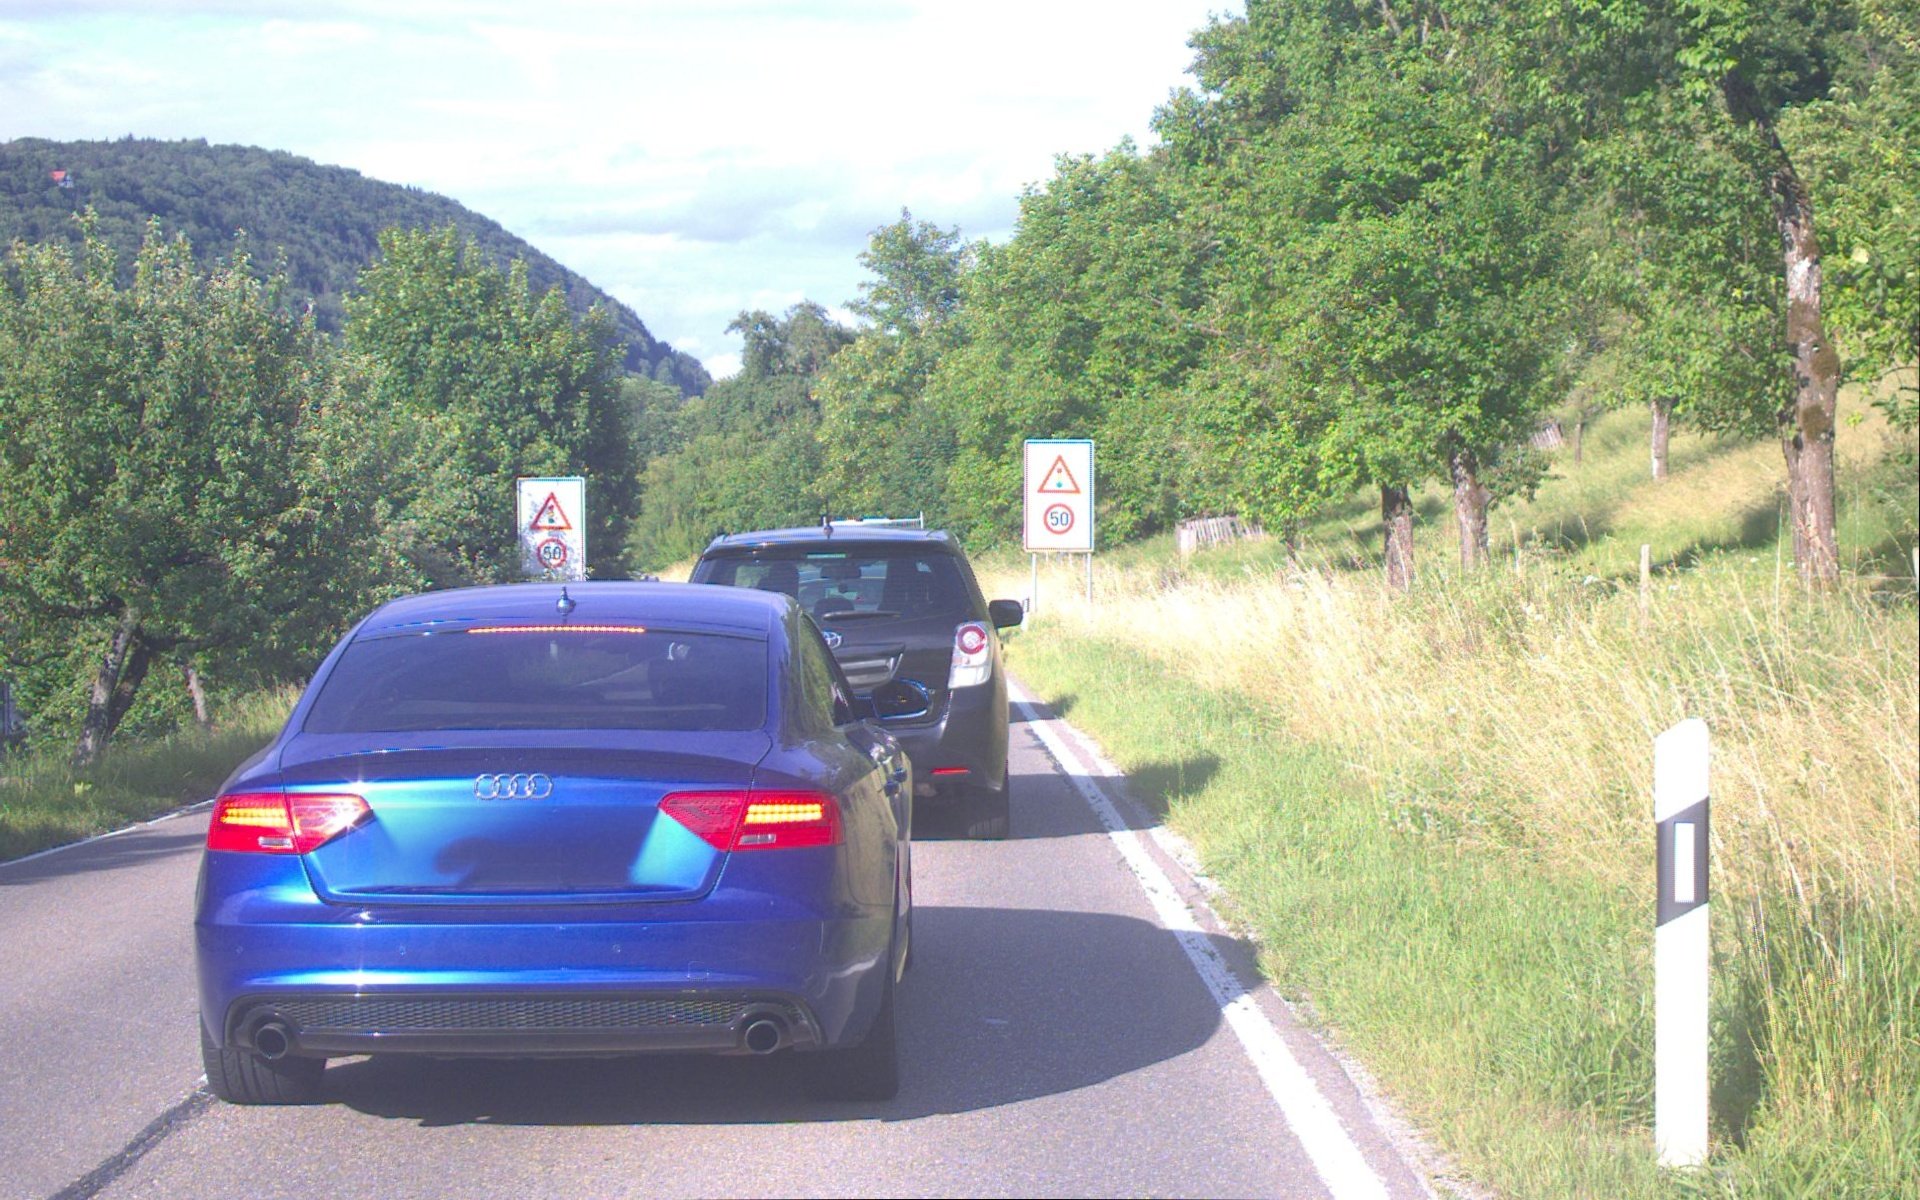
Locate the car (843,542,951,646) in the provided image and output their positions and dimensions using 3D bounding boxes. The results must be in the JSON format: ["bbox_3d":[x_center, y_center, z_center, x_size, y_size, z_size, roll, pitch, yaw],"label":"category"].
[{"bbox_3d":[-1.021,-0.126,55.988,1.692,1.618,3.789,0,1,-1],"label":"car"}]

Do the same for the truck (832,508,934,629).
[{"bbox_3d":[-1.591,-0.655,70.230,1.950,2.337,5.094,1,1,-1],"label":"truck"}]

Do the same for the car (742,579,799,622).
[{"bbox_3d":[-6.976,0.016,126.346,1.747,1.490,3.779,1,1,-8],"label":"car"}]

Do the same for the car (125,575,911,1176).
[{"bbox_3d":[-1.063,0.631,10.157,1.805,1.377,4.215,0,1,0],"label":"car"}]

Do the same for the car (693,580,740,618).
[{"bbox_3d":[-10.021,-0.049,141.522,1.558,1.490,3.779,1,1,-9],"label":"car"}]

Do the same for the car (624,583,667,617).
[{"bbox_3d":[-15.107,-0.003,165.116,1.558,1.490,3.779,1,1,-13],"label":"car"}]

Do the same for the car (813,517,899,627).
[{"bbox_3d":[-2.440,-0.670,79.913,1.792,2.445,3.920,1,1,-4],"label":"car"}]

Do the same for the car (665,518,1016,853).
[{"bbox_3d":[-0.608,0.379,18.523,1.692,1.618,3.789,0,1,-1],"label":"car"}]
